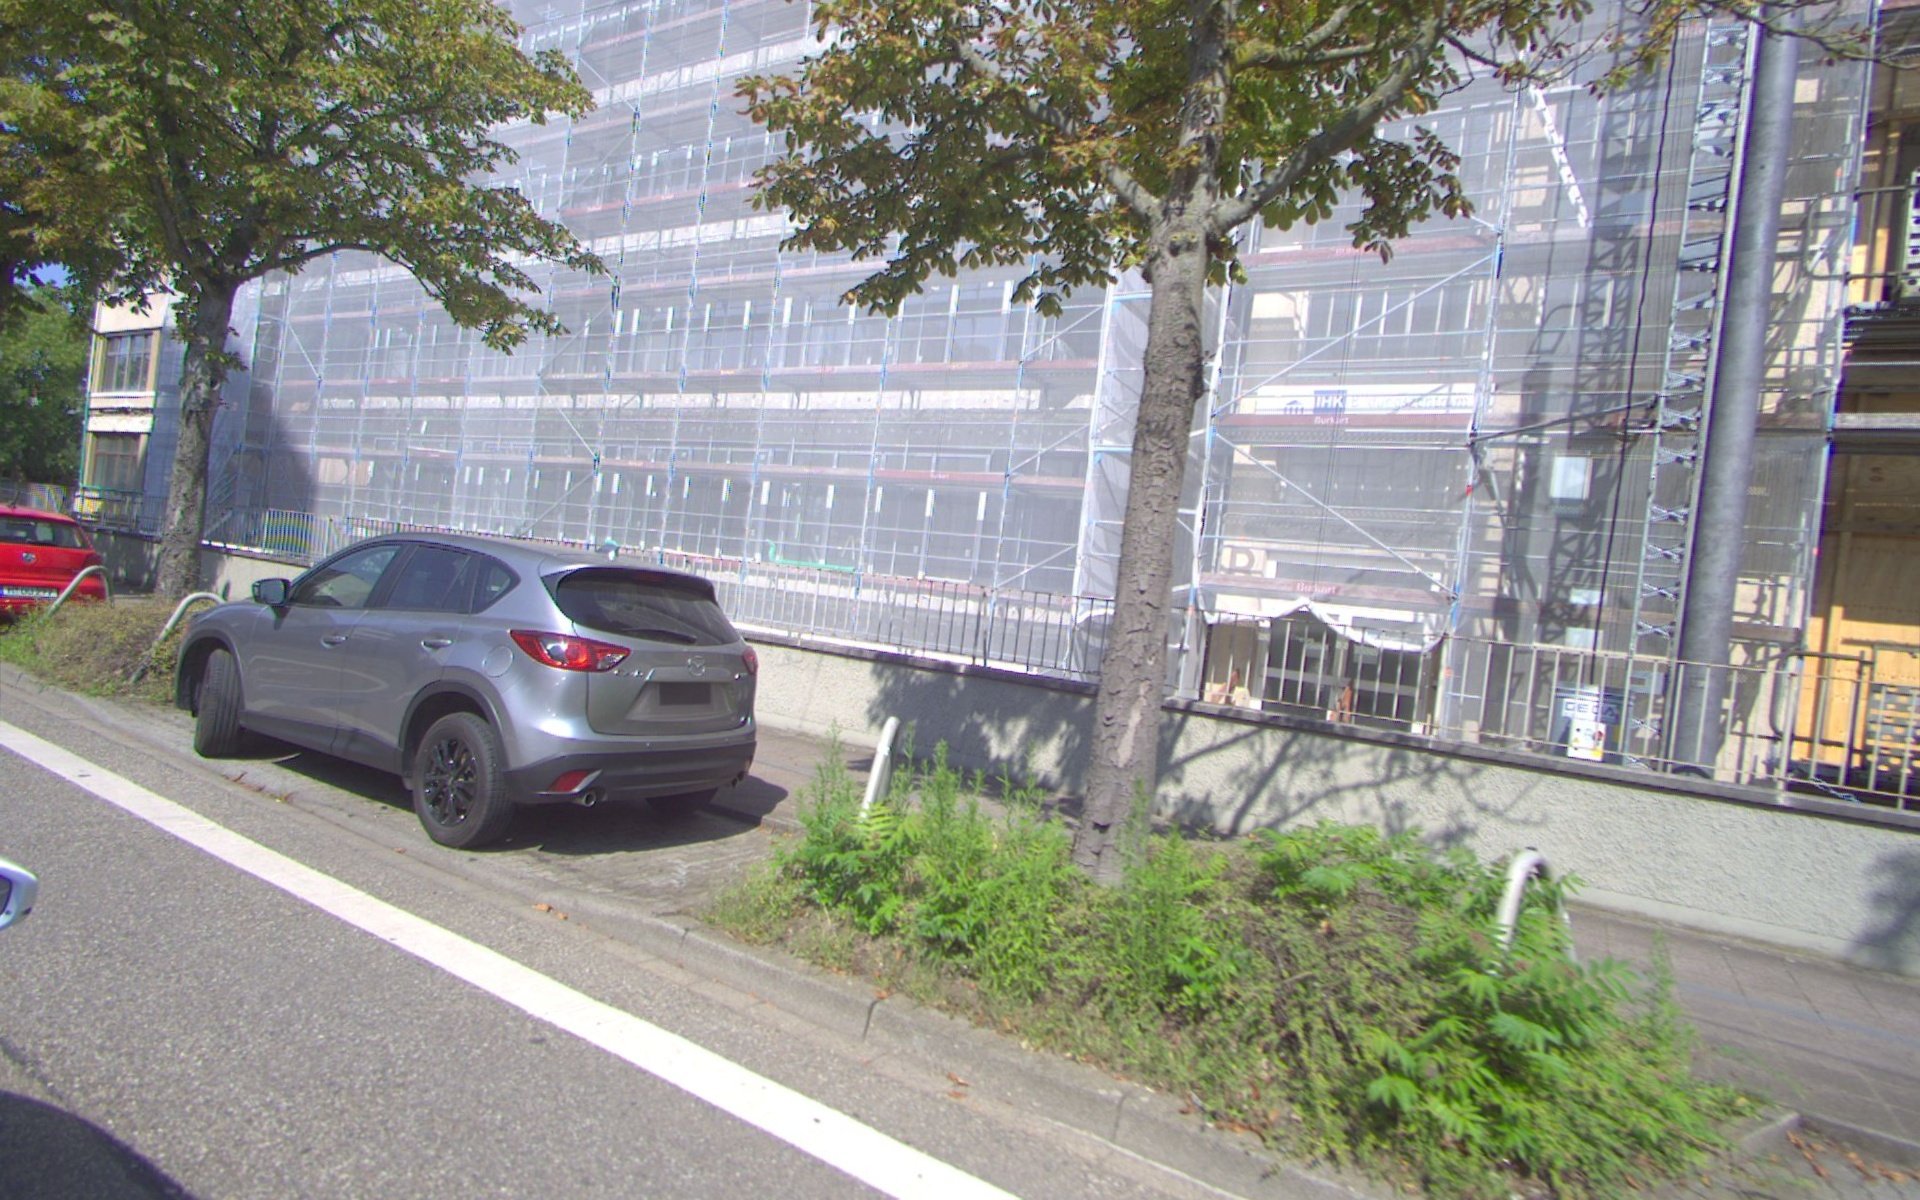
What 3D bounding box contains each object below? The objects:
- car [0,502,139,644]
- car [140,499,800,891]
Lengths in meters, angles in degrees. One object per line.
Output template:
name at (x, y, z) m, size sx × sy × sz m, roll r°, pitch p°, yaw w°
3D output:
car at (-11.917, -0.477, 12.241) m, size 3.622 × 1.480 × 1.744 m, roll 7°, pitch -1°, yaw 31°
car at (-3.378, 0.430, 6.710) m, size 4.288 × 1.688 × 1.744 m, roll 7°, pitch -1°, yaw 31°
